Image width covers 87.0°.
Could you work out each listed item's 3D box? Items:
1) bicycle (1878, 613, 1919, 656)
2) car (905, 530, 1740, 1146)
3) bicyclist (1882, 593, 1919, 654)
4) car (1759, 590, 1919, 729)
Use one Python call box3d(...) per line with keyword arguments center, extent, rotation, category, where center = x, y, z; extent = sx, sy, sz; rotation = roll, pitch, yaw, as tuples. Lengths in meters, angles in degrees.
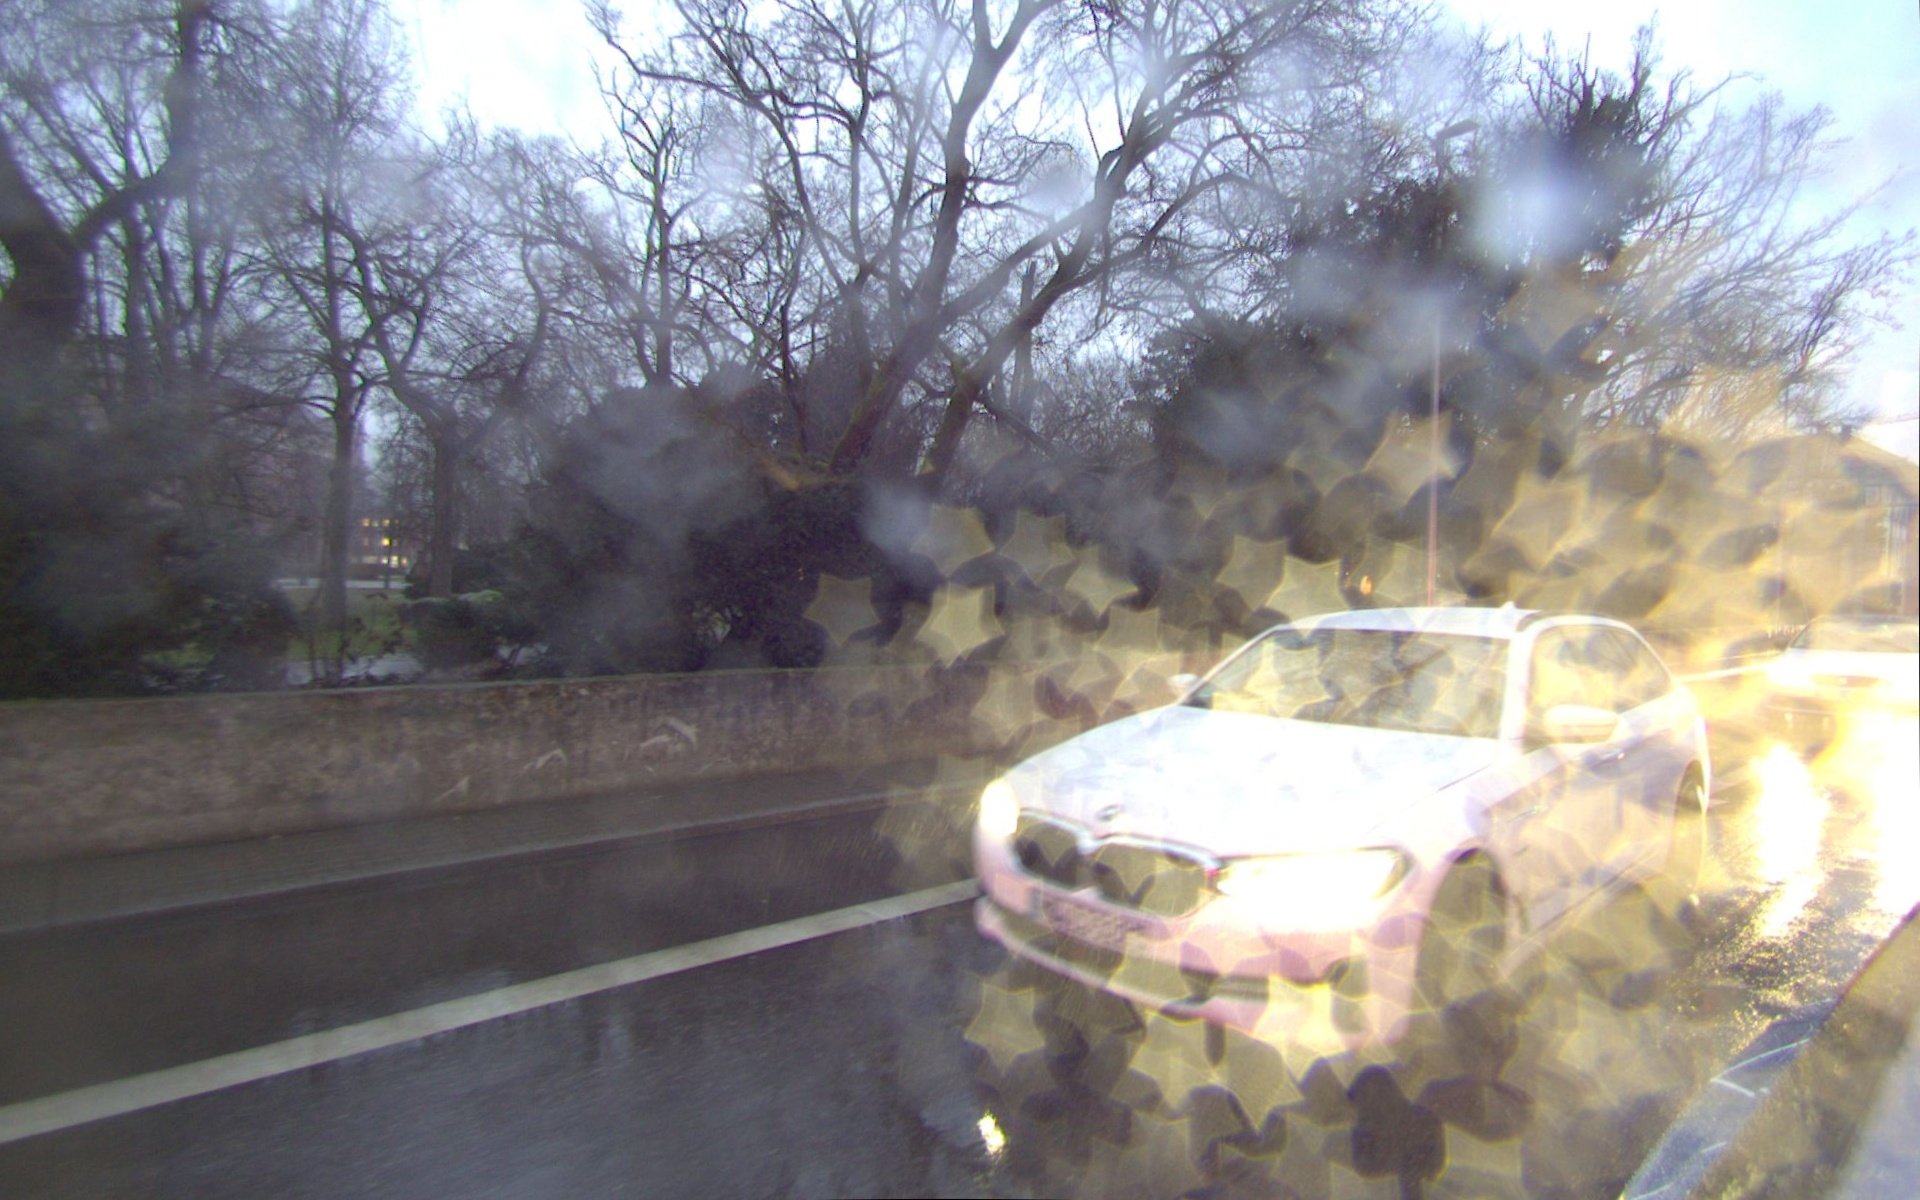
box3d(center=(34.911, 1.249, 37.529), extent=(3.331, 1.469, 0.966), rotation=(0, 0, -42), category="bicycle")
box3d(center=(2.187, 0.585, 4.952), extent=(4.856, 1.575, 1.864), rotation=(0, 2, -44), category="car")
box3d(center=(35.007, 0.859, 37.617), extent=(0.919, 2.251, 0.966), rotation=(0, -1, -42), category="bicyclist")
box3d(center=(12.452, 0.713, 13.624), extent=(4.097, 1.580, 1.885), rotation=(1, 2, -41), category="car")
